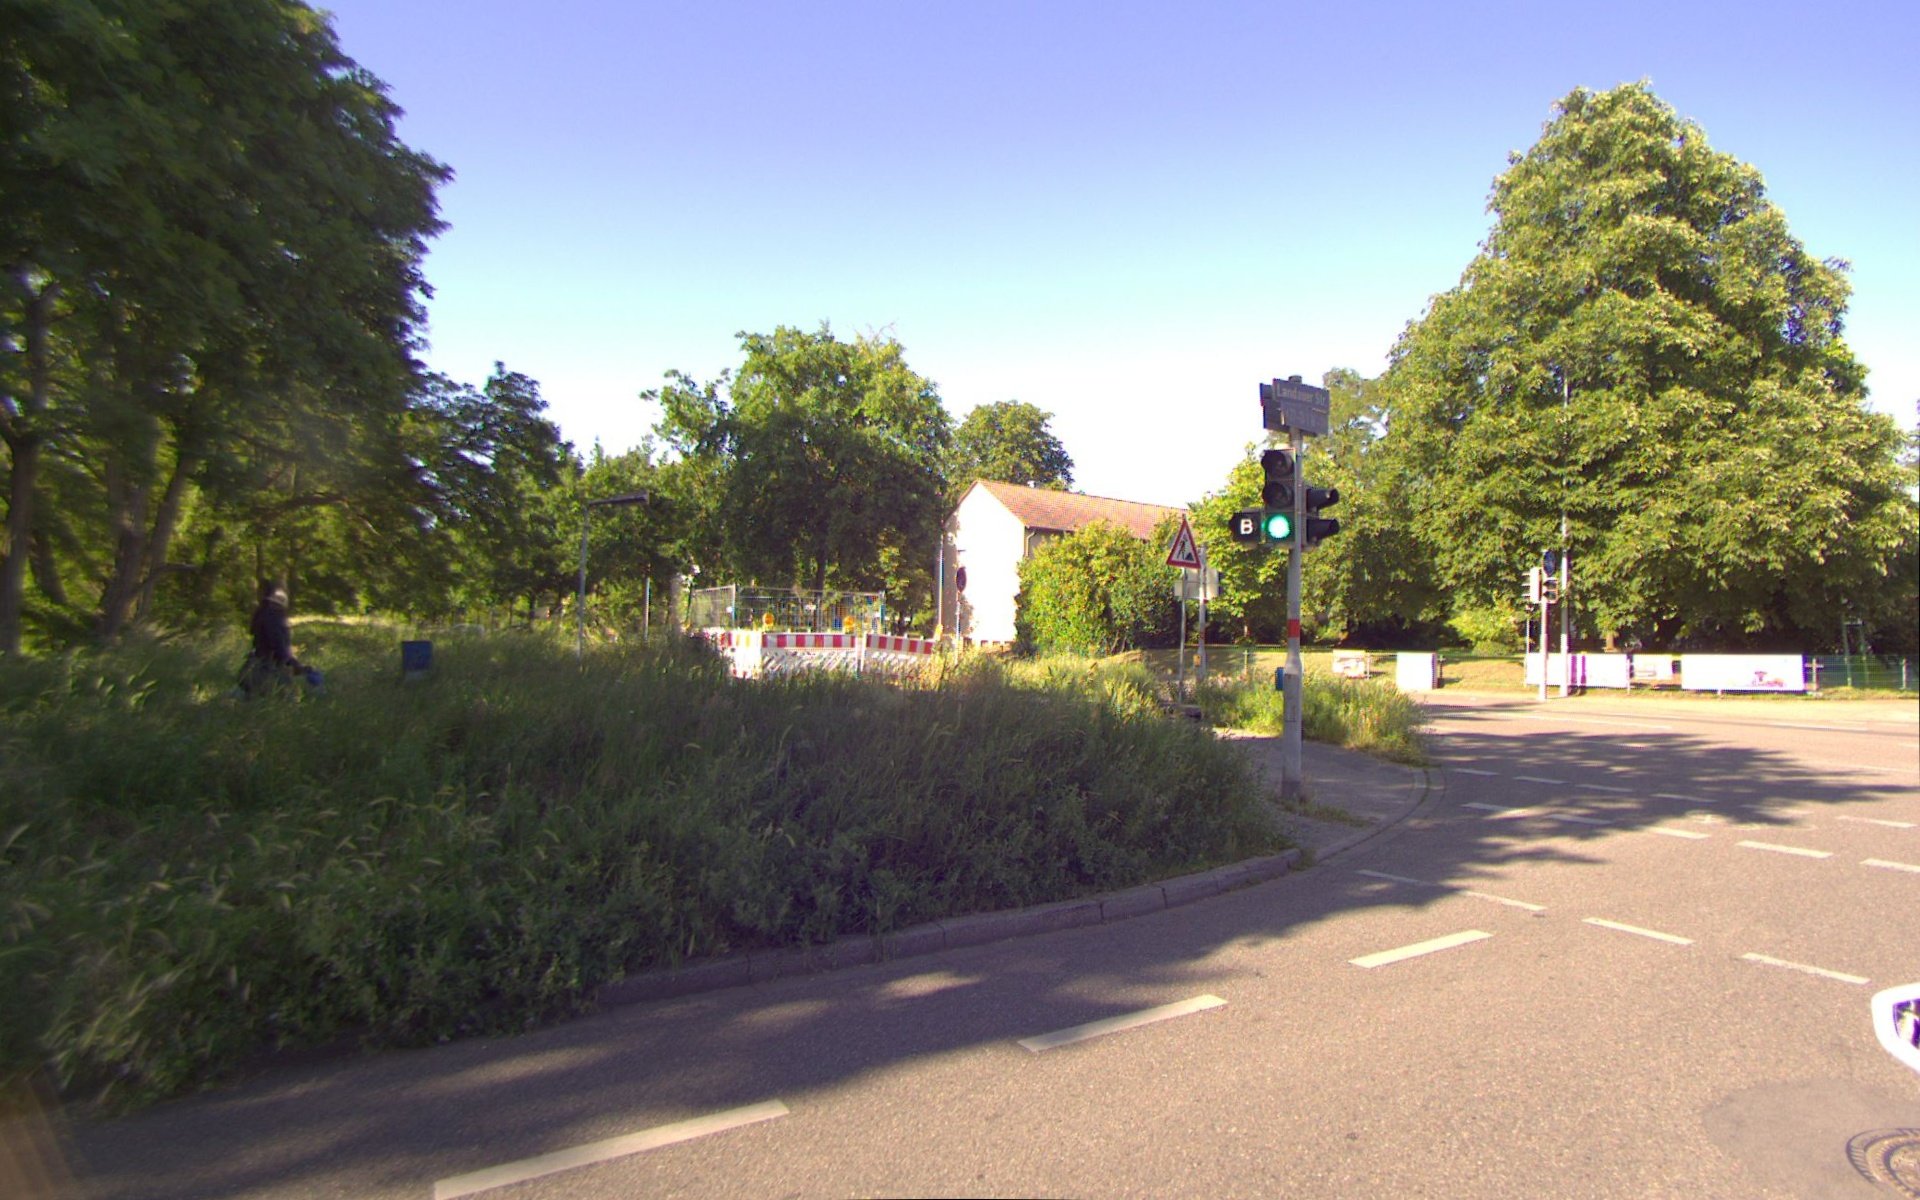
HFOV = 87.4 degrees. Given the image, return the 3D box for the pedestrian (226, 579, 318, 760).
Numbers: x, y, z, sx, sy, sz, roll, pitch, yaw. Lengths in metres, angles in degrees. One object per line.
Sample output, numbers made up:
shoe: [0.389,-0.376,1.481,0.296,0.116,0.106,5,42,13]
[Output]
pedestrian: [-6.624,0.636,9.703,0.640,1.655,0.794,1,0,-30]

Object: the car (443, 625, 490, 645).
car: [-49.877,3.506,101.529,3.959,1.951,1.981,1,0,-34]
